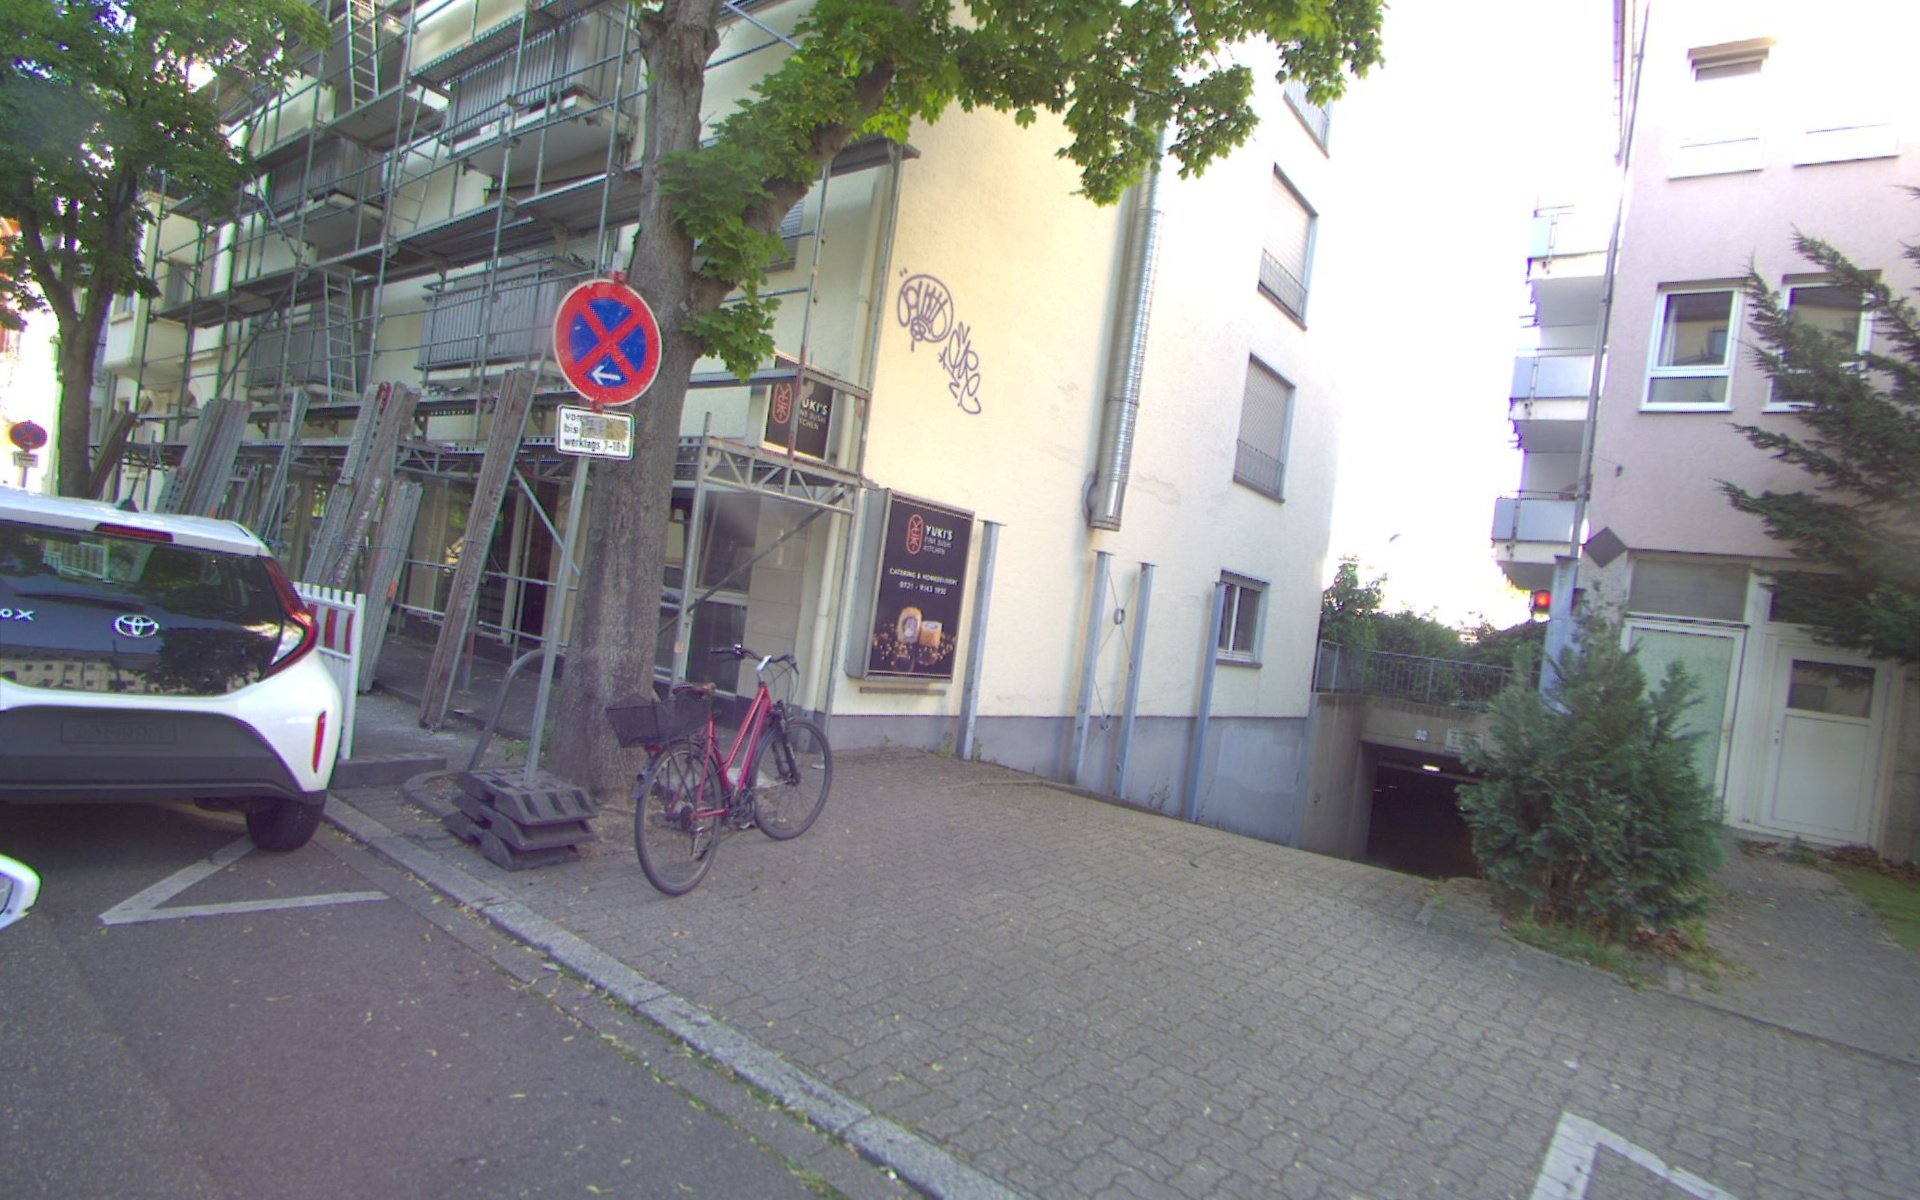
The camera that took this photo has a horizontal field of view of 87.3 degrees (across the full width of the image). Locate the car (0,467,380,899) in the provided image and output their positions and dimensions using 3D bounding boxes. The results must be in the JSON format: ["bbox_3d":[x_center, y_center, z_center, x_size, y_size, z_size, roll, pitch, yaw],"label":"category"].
[{"bbox_3d":[-4.540,0.202,4.966,3.354,1.562,1.675,7,-2,39],"label":"car"}]

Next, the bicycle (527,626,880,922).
[{"bbox_3d":[-1.234,0.779,5.370,0.713,1.181,1.984,7,2,21],"label":"bicycle"}]

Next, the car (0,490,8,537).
[{"bbox_3d":[-22.286,-1.890,22.064,3.332,1.425,1.557,7,-3,40],"label":"car"}]
